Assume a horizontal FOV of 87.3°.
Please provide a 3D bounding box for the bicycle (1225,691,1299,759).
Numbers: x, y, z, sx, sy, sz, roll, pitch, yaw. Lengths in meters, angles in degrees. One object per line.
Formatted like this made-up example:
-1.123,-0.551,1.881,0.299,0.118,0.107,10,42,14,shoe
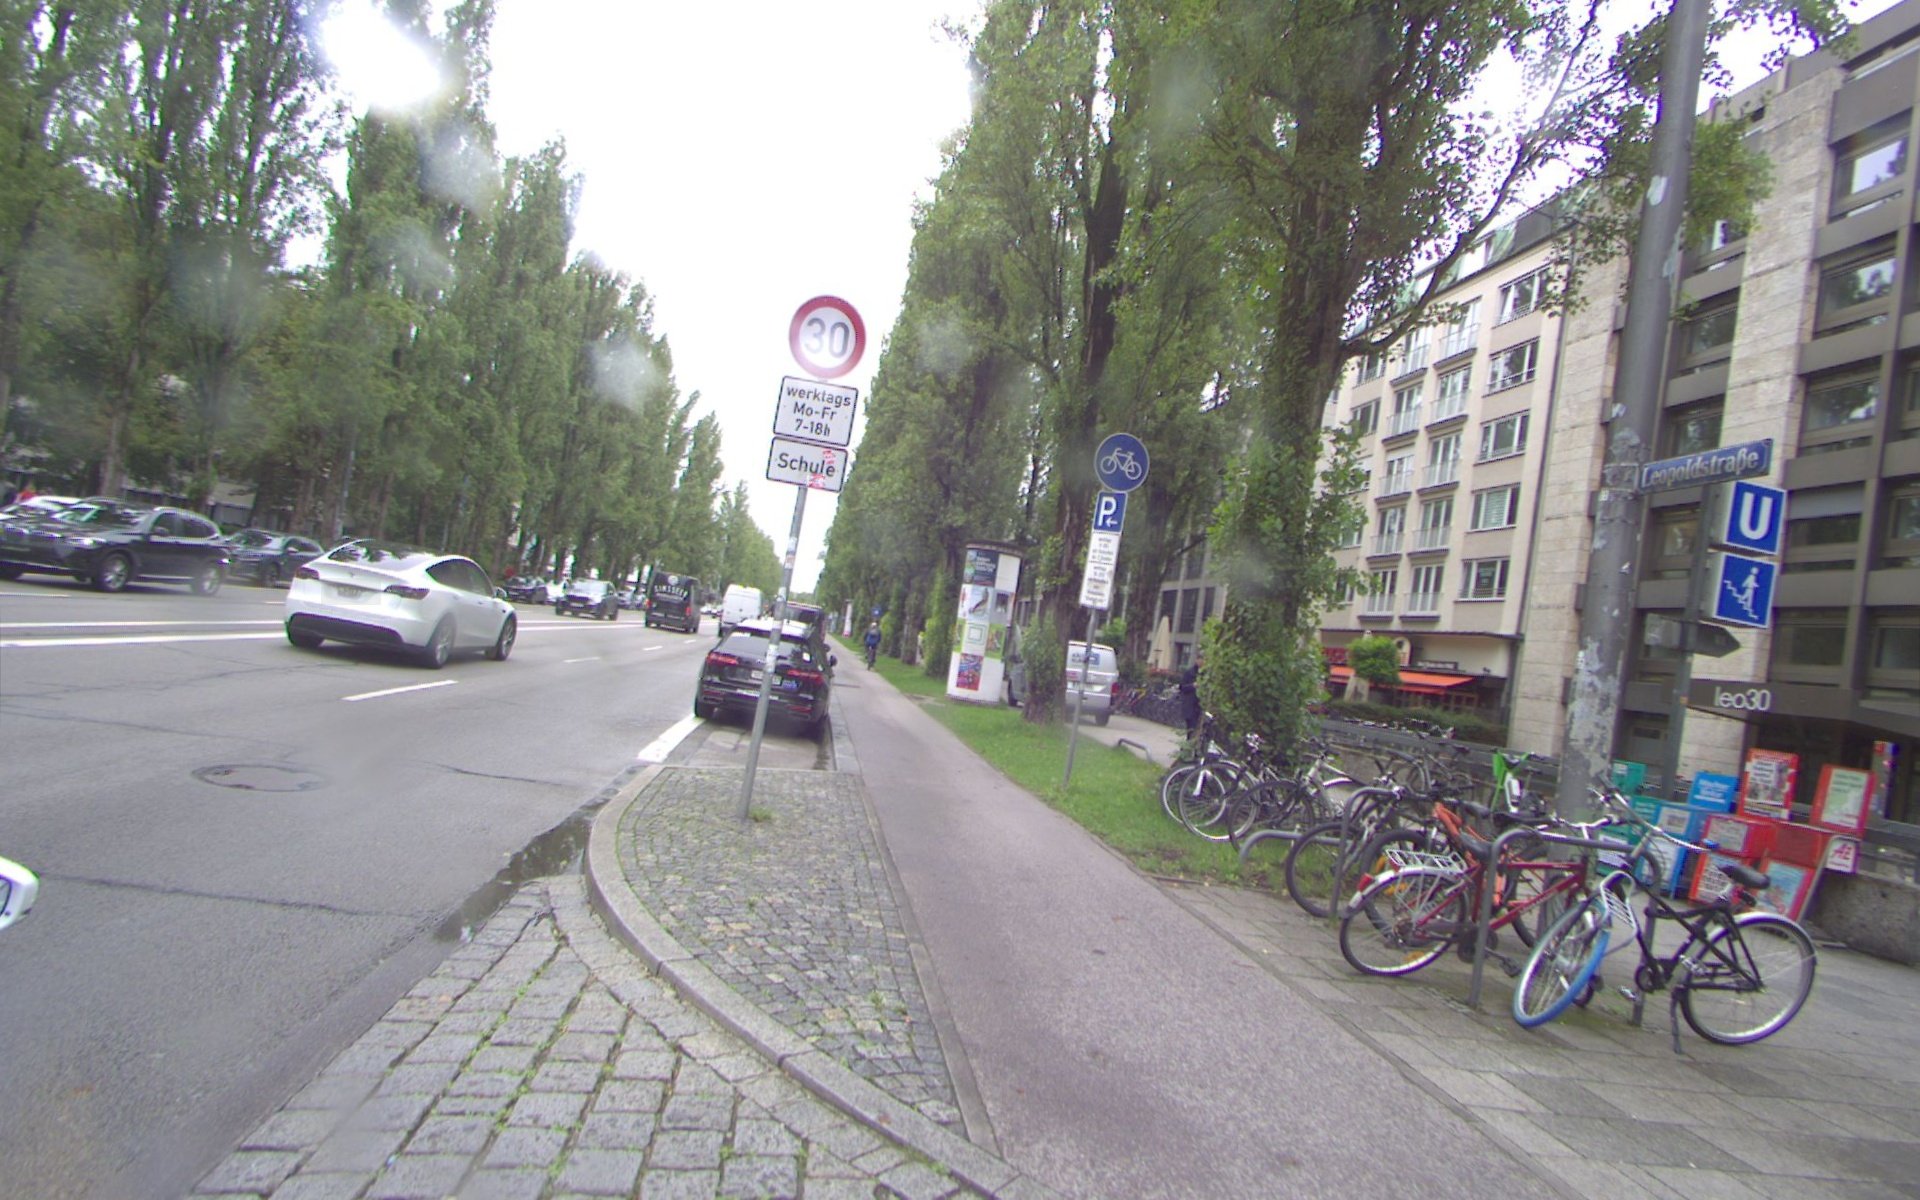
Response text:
6.376,2.616,21.337,0.578,1.173,1.983,9,-2,-7,bicycle

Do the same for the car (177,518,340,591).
-20.273,-1.240,29.345,1.966,1.559,4.321,9,-2,-7,car

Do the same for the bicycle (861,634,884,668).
-3.258,1.872,37.261,0.706,1.161,1.900,6,-3,-7,bicycle

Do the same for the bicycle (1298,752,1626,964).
3.211,1.648,6.472,1.844,1.063,0.475,8,-1,-8,bicycle

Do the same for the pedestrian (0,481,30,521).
-44.059,-4.590,46.655,0.803,1.681,0.896,9,-1,-8,pedestrian

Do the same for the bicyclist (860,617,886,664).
-3.228,1.499,37.277,0.712,1.639,0.756,7,0,-8,bicyclist

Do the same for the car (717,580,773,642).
-10.916,0.555,51.486,2.013,2.681,6.035,10,-2,-8,car

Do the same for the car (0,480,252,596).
-15.827,-1.068,19.008,1.966,1.661,4.546,8,-2,-8,car

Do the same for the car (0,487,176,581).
-18.895,-1.387,21.072,1.968,1.559,4.318,9,-2,-11,car

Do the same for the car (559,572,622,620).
-16.230,-0.152,44.413,1.969,1.736,4.747,8,-2,-15,car

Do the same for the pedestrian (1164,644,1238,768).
4.099,1.781,17.183,0.704,1.951,0.904,8,0,-8,pedestrian

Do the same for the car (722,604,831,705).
-3.593,1.045,20.290,1.720,1.543,3.905,10,-2,-7,car

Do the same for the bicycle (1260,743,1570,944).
3.072,1.639,6.823,1.844,1.063,0.475,8,-1,-8,bicycle

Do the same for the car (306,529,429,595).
-21.079,-1.266,36.028,1.967,1.817,4.756,9,-2,-9,car

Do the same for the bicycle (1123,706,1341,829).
2.486,1.532,9.271,1.801,0.827,0.472,8,-1,-4,bicycle

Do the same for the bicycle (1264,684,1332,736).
9.458,3.072,28.232,0.580,1.173,1.859,9,-1,-22,bicycle

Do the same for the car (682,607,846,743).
-2.741,1.025,15.024,1.726,1.442,4.448,10,-2,-5,car

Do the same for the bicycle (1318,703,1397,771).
8.480,2.911,21.542,0.578,1.173,1.868,9,-2,-7,bicycle

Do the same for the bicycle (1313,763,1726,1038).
2.882,1.542,5.224,1.845,1.062,0.475,10,-1,-8,bicycle

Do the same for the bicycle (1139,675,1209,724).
6.484,3.010,30.469,1.838,1.173,0.587,10,0,-7,bicycle

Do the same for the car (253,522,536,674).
-8.119,0.018,15.065,1.968,1.592,4.633,10,-2,-8,car

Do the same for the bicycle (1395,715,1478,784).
10.302,3.210,21.819,0.578,1.173,1.868,9,-2,-7,bicycle

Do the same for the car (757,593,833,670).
-5.266,0.973,31.924,1.887,1.945,5.033,10,-2,-10,car

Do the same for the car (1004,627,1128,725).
2.600,1.859,26.101,1.784,1.918,5.197,9,-1,-7,car

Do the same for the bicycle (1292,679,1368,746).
7.799,2.359,21.291,0.578,1.173,1.868,9,-2,-7,bicycle

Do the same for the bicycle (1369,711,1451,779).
9.696,3.108,21.739,0.578,1.173,1.868,9,-2,-7,bicycle

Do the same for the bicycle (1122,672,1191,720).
6.051,2.967,31.022,1.838,1.173,0.587,9,-1,-7,bicycle

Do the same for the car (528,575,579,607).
-24.428,-0.557,60.529,1.738,1.597,3.966,9,-1,-8,car

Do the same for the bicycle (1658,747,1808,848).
11.916,3.020,15.598,0.578,1.173,1.868,9,-2,-7,bicycle

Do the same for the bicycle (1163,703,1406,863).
2.747,1.549,8.591,1.801,1.050,0.513,8,-1,-4,bicycle

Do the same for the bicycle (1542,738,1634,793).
17.739,4.683,28.422,2.209,1.168,0.647,9,-1,-9,bicycle

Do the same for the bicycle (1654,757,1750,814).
20.257,5.070,27.468,2.209,1.168,0.647,9,-1,-9,bicycle

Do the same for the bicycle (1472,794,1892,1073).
3.472,1.604,4.835,1.848,1.062,0.474,9,-1,-14,bicycle

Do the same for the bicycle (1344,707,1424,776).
9.095,3.014,21.641,0.578,1.173,1.868,9,-2,-7,bicycle

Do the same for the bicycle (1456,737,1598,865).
6.744,2.355,12.085,0.577,1.173,1.871,8,-2,3,bicycle

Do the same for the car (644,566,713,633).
-12.988,0.029,46.835,2.049,2.584,5.925,10,-2,-9,car

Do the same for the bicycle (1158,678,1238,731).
6.785,2.971,28.737,1.998,1.173,0.587,9,-1,-7,bicycle

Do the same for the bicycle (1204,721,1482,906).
2.945,1.641,7.772,1.899,1.118,0.512,9,-1,-9,bicycle

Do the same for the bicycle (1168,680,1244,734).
6.833,2.970,27.976,1.838,1.173,0.587,9,-1,-7,bicycle

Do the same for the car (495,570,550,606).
-23.793,-0.688,54.853,1.919,1.597,3.600,9,-1,-13,car

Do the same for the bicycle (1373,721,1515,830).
6.801,2.443,14.248,0.579,1.173,1.863,9,-2,-17,bicycle

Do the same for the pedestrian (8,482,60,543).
-29.208,-2.748,31.742,0.697,1.733,0.731,9,-1,-8,pedestrian
